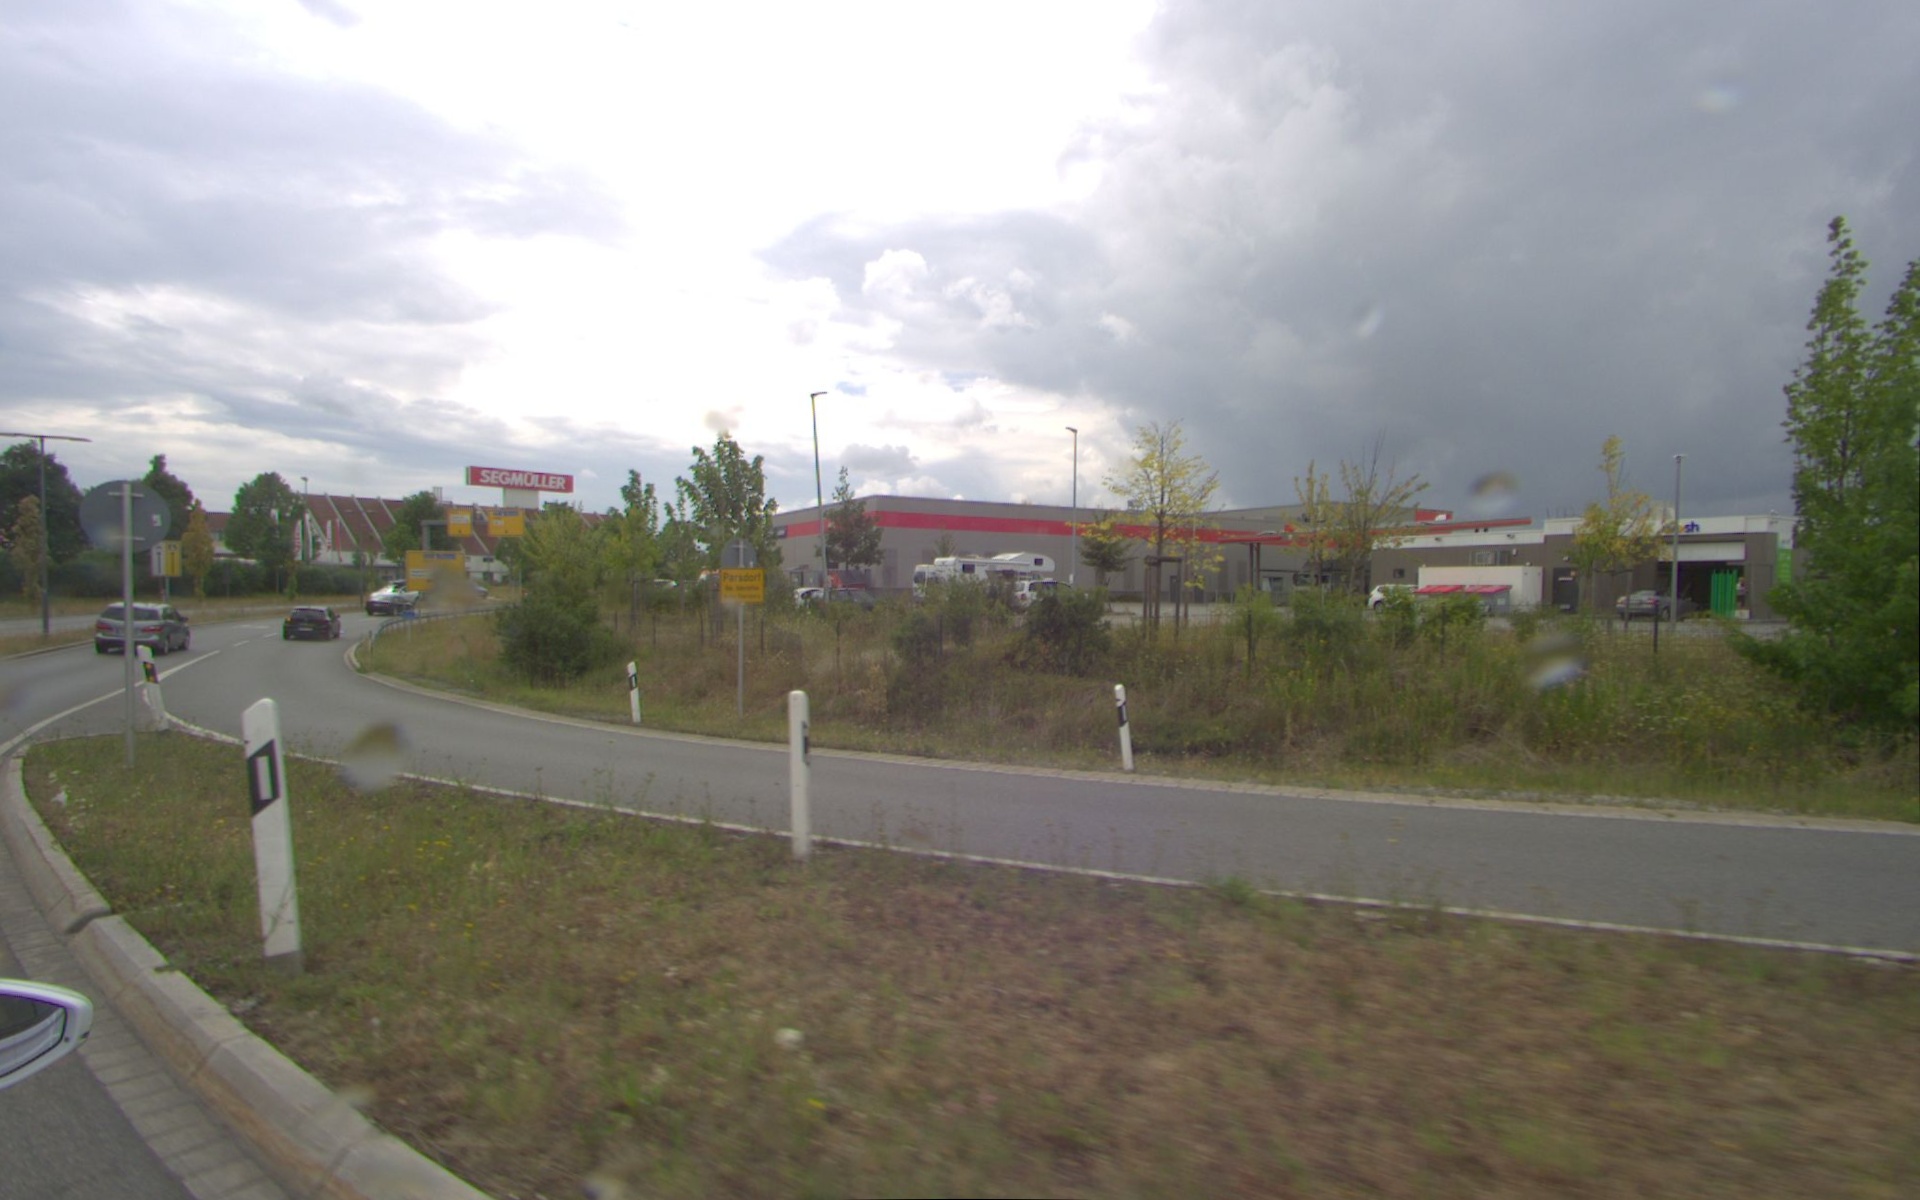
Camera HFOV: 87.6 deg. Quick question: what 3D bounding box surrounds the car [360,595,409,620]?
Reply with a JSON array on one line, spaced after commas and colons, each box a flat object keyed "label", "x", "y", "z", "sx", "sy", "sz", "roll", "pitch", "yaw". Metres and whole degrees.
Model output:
[{"label": "car", "x": -38.259, "y": 0.506, "z": 66.677, "sx": 1.878, "sy": 1.639, "sz": 3.993, "roll": 1, "pitch": 0, "yaw": -16}]

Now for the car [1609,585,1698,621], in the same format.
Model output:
[{"label": "car", "x": 30.041, "y": 0.141, "z": 43.351, "sx": 3.944, "sy": 1.450, "sz": 1.661, "roll": 1, "pitch": 0, "yaw": -31}]

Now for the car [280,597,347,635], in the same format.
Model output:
[{"label": "car", "x": -28.363, "y": 0.693, "z": 44.044, "sx": 1.845, "sy": 1.626, "sz": 3.722, "roll": 1, "pitch": -1, "yaw": -23}]

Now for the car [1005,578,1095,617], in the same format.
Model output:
[{"label": "car", "x": 4.369, "y": -0.131, "z": 48.579, "sx": 3.997, "sy": 1.743, "sz": 1.773, "roll": -1, "pitch": 1, "yaw": -25}]

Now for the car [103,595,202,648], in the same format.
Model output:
[{"label": "car", "x": -26.438, "y": 0.686, "z": 32.915, "sx": 1.746, "sy": 1.638, "sz": 3.904, "roll": 1, "pitch": -1, "yaw": -27}]

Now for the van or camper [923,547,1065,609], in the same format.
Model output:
[{"label": "van or camper", "x": 1.897, "y": -1.172, "z": 54.841, "sx": 7.628, "sy": 3.222, "sz": 2.478, "roll": 0, "pitch": 2, "yaw": -31}]

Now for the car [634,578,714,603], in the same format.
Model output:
[{"label": "car", "x": -17.040, "y": -0.545, "z": 59.792, "sx": 1.681, "sy": 1.419, "sz": 4.559, "roll": 1, "pitch": 0, "yaw": 36}]

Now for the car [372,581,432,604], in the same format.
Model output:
[{"label": "car", "x": -45.561, "y": -0.605, "z": 81.882, "sx": 1.878, "sy": 1.647, "sz": 4.636, "roll": 4, "pitch": 0, "yaw": 7}]
